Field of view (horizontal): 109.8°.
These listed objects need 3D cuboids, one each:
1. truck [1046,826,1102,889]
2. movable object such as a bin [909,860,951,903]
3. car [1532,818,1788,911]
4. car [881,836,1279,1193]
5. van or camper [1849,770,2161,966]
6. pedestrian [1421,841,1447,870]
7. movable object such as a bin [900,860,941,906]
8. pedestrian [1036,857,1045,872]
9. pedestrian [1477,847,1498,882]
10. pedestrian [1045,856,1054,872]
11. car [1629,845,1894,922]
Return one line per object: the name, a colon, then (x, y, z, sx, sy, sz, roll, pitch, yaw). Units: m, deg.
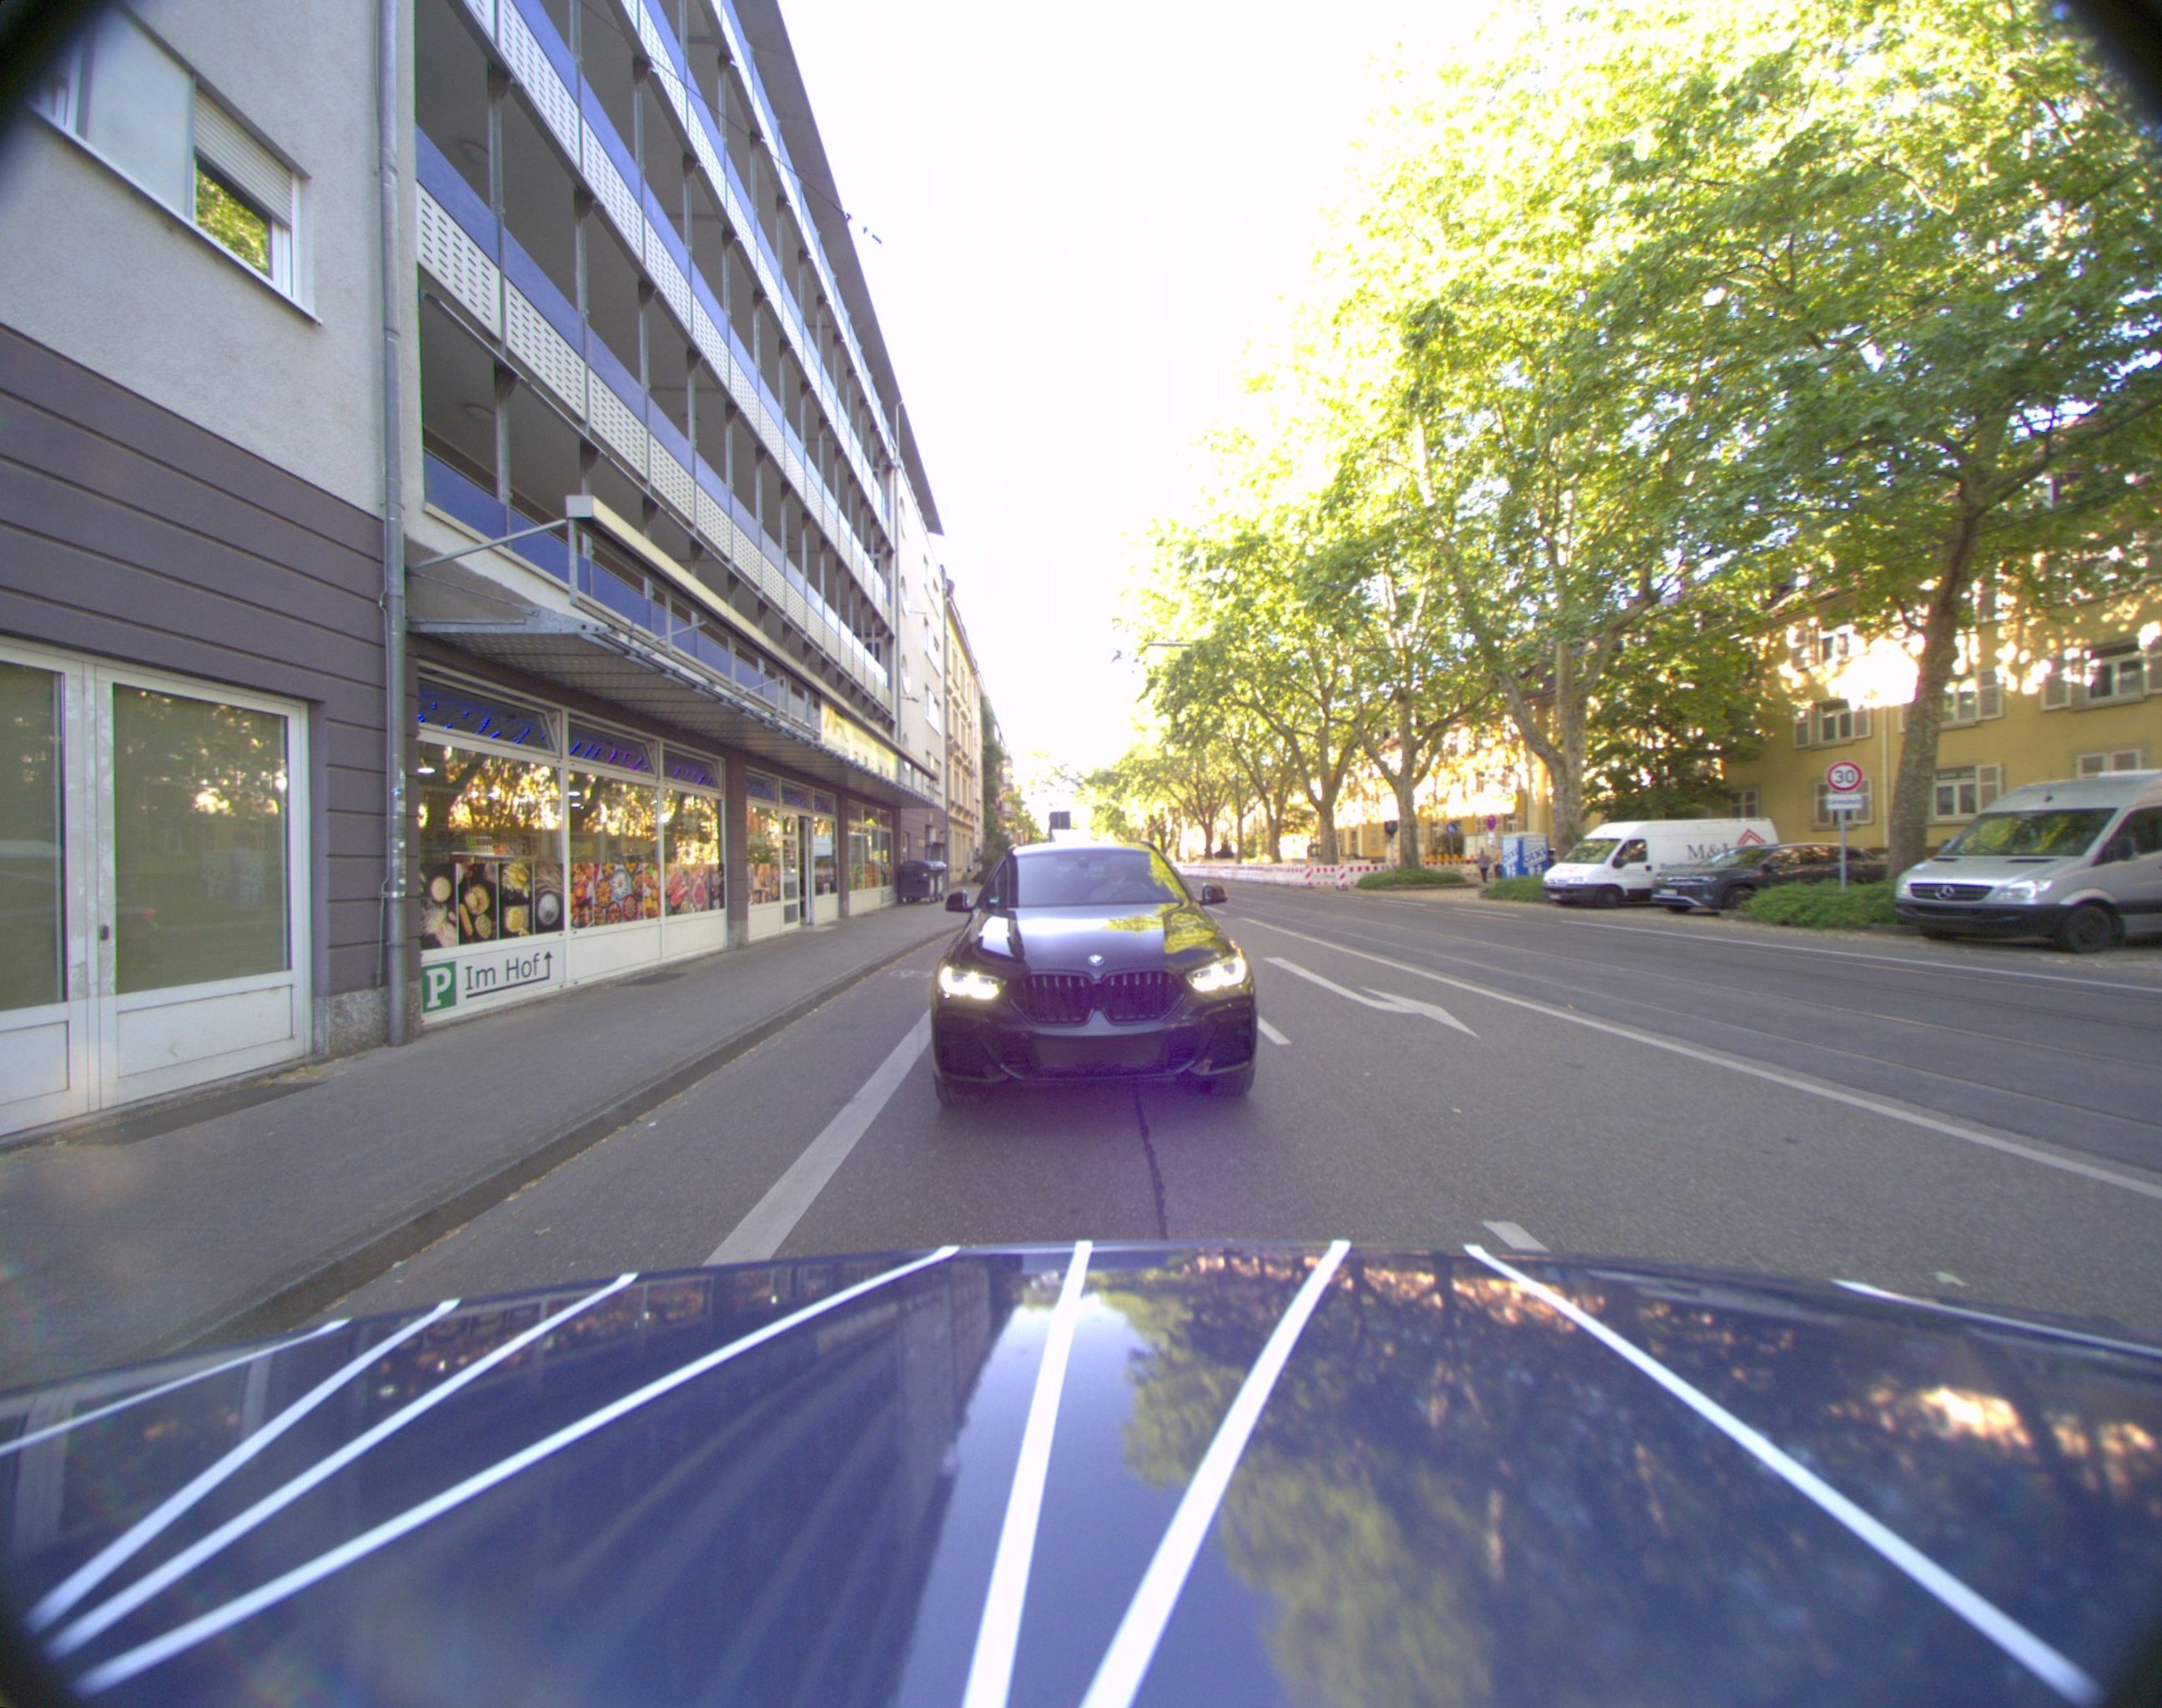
truck: (-0.573, 0.201, 43.158, 2.385, 3.165, 8.525, 2, 0, -5)
movable object such as a bin: (-5.286, 0.951, 26.709, 1.122, 1.437, 1.306, -1, 0, 4)
car: (15.853, 0.277, 21.000, 5.612, 2.361, 2.025, -1, 0, -2)
car: (0.020, 0.823, 6.060, 1.943, 1.733, 4.475, -2, 0, 1)
van or camper: (16.089, 0.130, 11.801, 6.127, 2.661, 2.229, -2, 0, -2)
pedestrian: (24.044, 0.101, 51.788, 1.098, 2.002, 1.235, -1, 0, -4)
movable object such as a bin: (-5.226, 0.931, 24.814, 1.069, 1.438, 1.296, -1, 0, -1)
pedestrian: (-4.661, 1.212, 86.778, 0.876, 1.728, 0.848, -3, 1, 1)
pedestrian: (18.422, 0.456, 34.427, 0.596, 1.563, 0.718, -1, 0, 8)
pedestrian: (-3.561, 1.157, 86.790, 0.876, 1.728, 0.848, -3, 1, 1)
car: (15.941, 0.659, 17.974, 4.575, 1.621, 1.969, -1, 0, -2)
